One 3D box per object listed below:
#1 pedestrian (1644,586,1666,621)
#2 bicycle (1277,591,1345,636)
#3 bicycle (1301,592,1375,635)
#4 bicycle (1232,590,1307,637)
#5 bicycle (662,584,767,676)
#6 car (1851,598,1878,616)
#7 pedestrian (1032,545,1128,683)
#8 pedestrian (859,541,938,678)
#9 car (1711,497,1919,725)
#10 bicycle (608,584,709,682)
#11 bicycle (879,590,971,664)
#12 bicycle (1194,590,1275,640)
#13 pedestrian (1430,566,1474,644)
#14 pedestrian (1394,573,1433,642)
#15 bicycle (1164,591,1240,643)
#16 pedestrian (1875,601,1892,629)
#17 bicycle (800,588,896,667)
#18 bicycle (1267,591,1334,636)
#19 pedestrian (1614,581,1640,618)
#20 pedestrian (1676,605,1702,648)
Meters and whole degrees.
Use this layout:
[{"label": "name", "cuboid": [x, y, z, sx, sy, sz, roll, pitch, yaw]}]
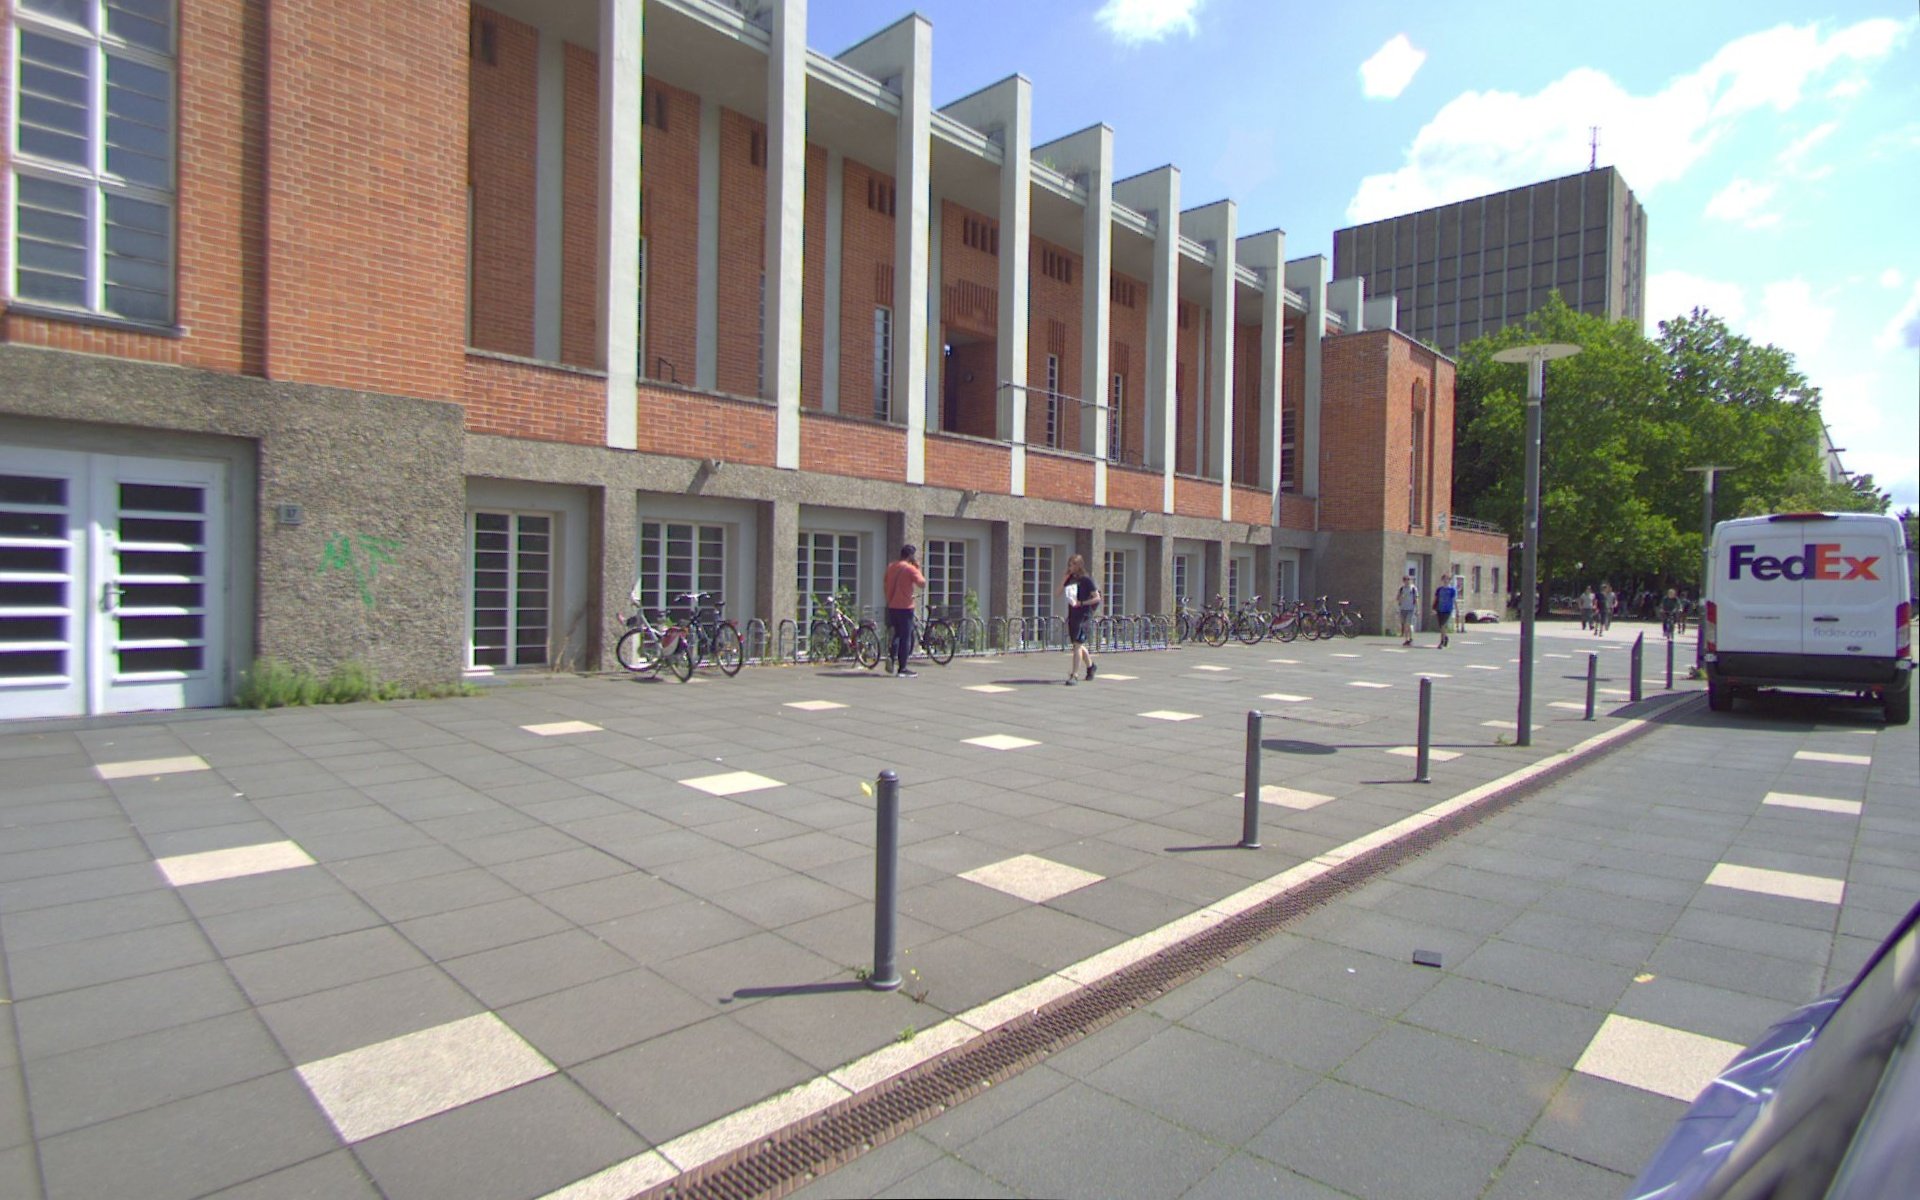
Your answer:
[{"label": "pedestrian", "cuboid": [37.290, 0.187, 54.287, 0.773, 1.813, 0.709, 2, 1, 23]}, {"label": "bicycle", "cuboid": [9.506, 0.351, 27.421, 1.694, 1.124, 0.429, 2, 1, 43]}, {"label": "bicycle", "cuboid": [10.720, 0.365, 28.721, 1.929, 1.124, 0.449, 2, 1, 43]}, {"label": "bicycle", "cuboid": [7.882, 0.335, 25.811, 1.796, 1.124, 0.429, 2, 1, 43]}, {"label": "bicycle", "cuboid": [-3.405, 0.379, 13.948, 1.753, 1.164, 0.510, 2, 1, 43]}, {"label": "car", "cuboid": [93.847, 0.712, 104.997, 1.992, 1.678, 3.940, 2, 1, 42]}, {"label": "pedestrian", "cuboid": [1.710, 0.178, 14.332, 0.842, 1.857, 1.181, 1, 1, 39]}, {"label": "pedestrian", "cuboid": [-0.866, 0.124, 14.295, 0.663, 1.857, 0.892, 1, 1, 44]}, {"label": "car", "cuboid": [12.140, 0.095, 14.180, 2.058, 2.575, 5.761, 2, 1, 42]}, {"label": "bicycle", "cuboid": [-3.957, 0.398, 13.212, 1.753, 1.164, 0.429, 2, 1, 43]}, {"label": "bicycle", "cuboid": [-0.592, 0.414, 16.622, 1.682, 1.124, 0.429, 2, 1, 43]}, {"label": "bicycle", "cuboid": [6.640, 0.352, 24.530, 1.911, 1.124, 0.429, 2, 1, 43]}, {"label": "pedestrian", "cuboid": [12.417, 0.107, 25.526, 0.664, 1.913, 1.093, 3, 2, 43]}, {"label": "pedestrian", "cuboid": [11.665, 0.178, 26.021, 0.585, 1.728, 0.986, 3, 2, 43]}, {"label": "bicycle", "cuboid": [5.548, 0.367, 23.292, 1.682, 1.124, 0.429, 2, 1, 43]}, {"label": "pedestrian", "cuboid": [47.843, 0.774, 52.448, 0.628, 1.460, 0.584, 1, 1, -45]}, {"label": "bicycle", "cuboid": [-1.754, 0.402, 15.694, 1.747, 1.124, 0.429, 2, 1, 43]}, {"label": "bicycle", "cuboid": [9.045, 0.339, 26.913, 1.650, 1.124, 0.429, 2, 1, 43]}, {"label": "pedestrian", "cuboid": [36.530, -0.039, 55.445, 0.971, 1.970, 0.971, 1, 0, 22]}, {"label": "pedestrian", "cuboid": [30.053, 1.087, 41.707, 0.781, 1.696, 1.064, 2, 2, 39]}]
